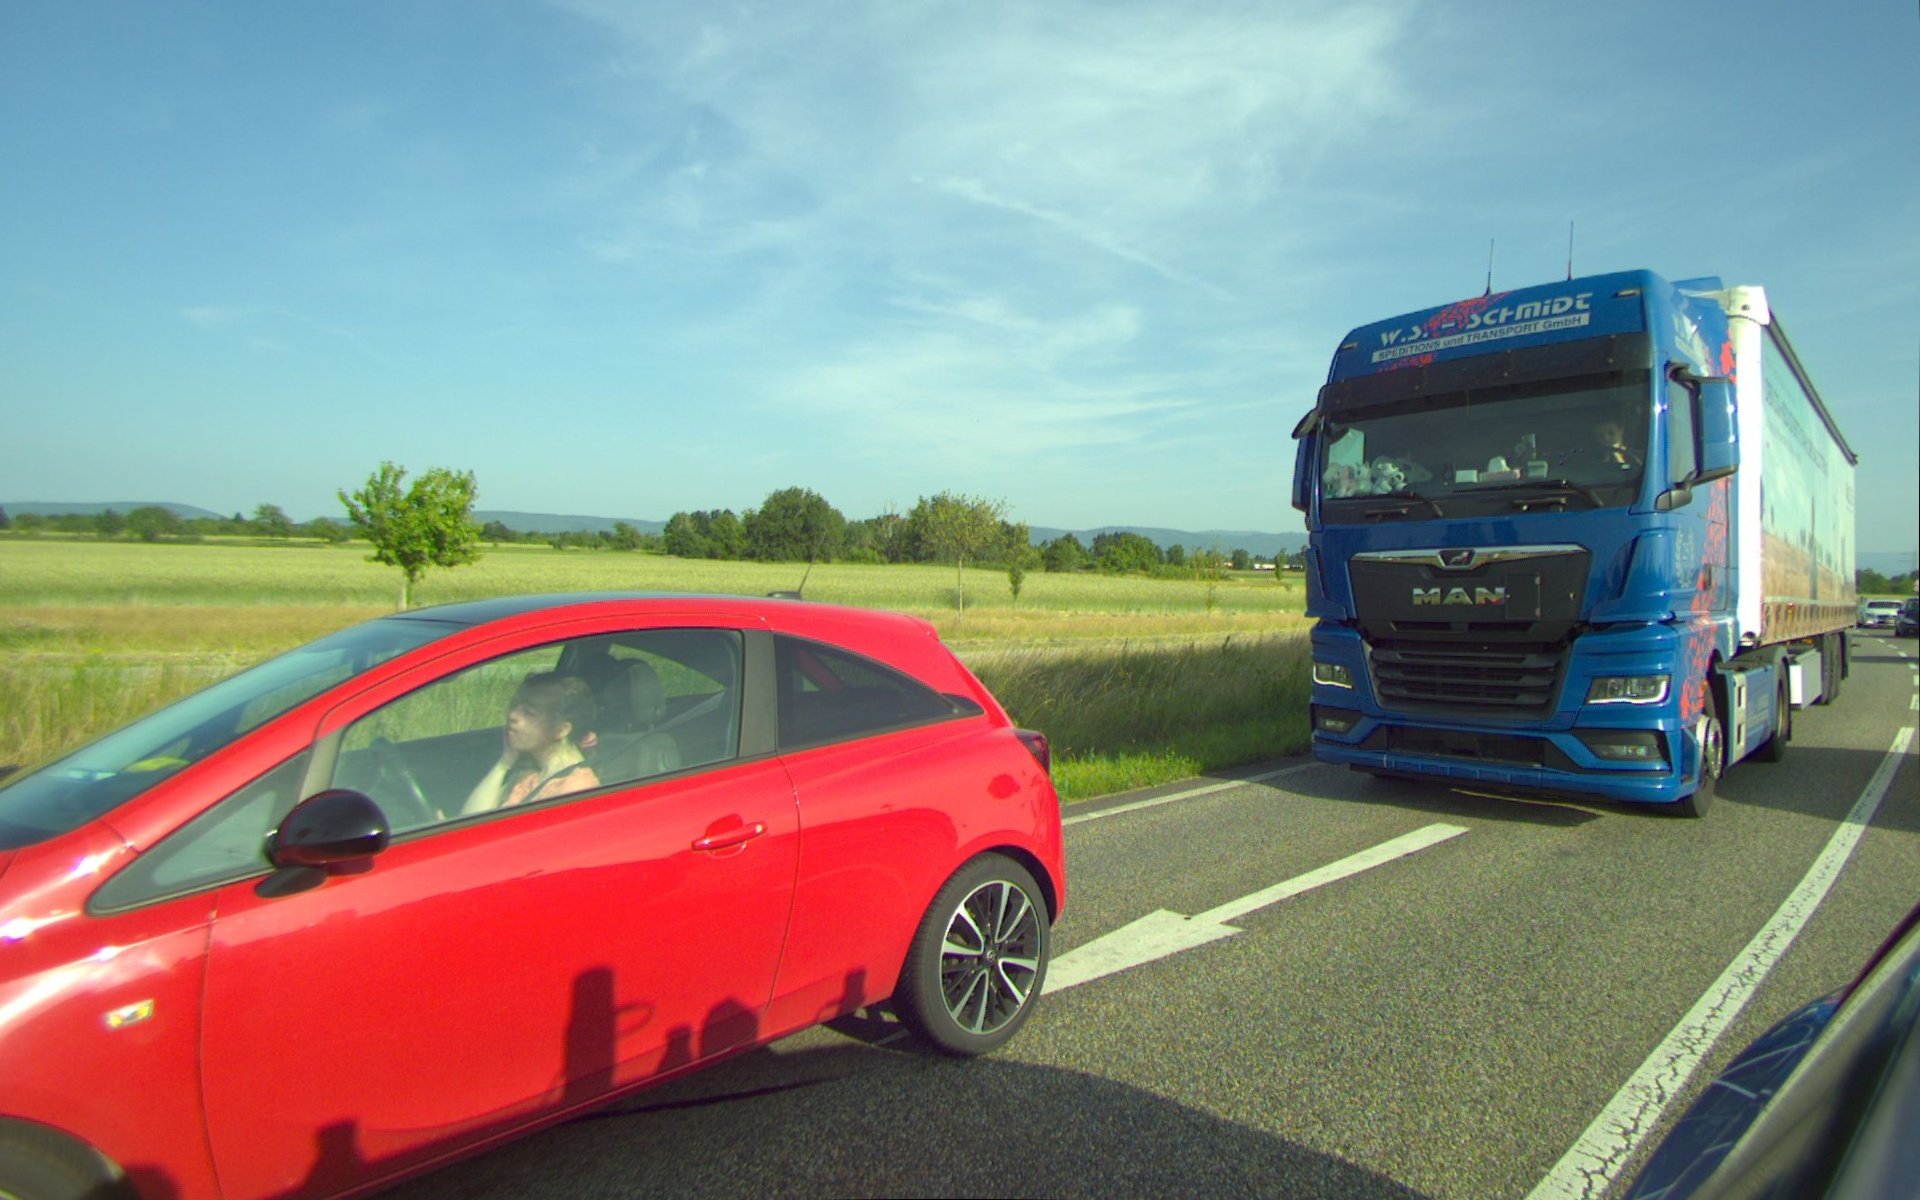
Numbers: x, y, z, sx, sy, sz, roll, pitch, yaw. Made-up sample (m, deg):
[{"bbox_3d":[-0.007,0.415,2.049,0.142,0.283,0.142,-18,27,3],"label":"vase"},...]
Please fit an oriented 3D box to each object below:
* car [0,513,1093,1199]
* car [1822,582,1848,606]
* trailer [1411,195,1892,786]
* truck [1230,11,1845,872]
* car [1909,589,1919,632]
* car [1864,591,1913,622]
[{"bbox_3d":[-1.448,0.620,2.854,3.689,1.568,1.698,0,2,-44],"label":"car"},{"bbox_3d":[74.978,-0.532,86.745,1.551,1.944,3.977,2,1,40],"label":"car"},{"bbox_3d":[10.328,-0.992,13.924,3.282,4.739,12.937,0,1,44],"label":"trailer"},{"bbox_3d":[5.240,-0.914,8.738,3.301,4.716,5.640,0,1,45],"label":"truck"},{"bbox_3d":[37.344,0.404,38.558,1.551,1.579,3.005,2,1,40],"label":"car"},{"bbox_3d":[45.669,0.293,49.837,1.551,1.417,3.977,2,2,40],"label":"car"}]
